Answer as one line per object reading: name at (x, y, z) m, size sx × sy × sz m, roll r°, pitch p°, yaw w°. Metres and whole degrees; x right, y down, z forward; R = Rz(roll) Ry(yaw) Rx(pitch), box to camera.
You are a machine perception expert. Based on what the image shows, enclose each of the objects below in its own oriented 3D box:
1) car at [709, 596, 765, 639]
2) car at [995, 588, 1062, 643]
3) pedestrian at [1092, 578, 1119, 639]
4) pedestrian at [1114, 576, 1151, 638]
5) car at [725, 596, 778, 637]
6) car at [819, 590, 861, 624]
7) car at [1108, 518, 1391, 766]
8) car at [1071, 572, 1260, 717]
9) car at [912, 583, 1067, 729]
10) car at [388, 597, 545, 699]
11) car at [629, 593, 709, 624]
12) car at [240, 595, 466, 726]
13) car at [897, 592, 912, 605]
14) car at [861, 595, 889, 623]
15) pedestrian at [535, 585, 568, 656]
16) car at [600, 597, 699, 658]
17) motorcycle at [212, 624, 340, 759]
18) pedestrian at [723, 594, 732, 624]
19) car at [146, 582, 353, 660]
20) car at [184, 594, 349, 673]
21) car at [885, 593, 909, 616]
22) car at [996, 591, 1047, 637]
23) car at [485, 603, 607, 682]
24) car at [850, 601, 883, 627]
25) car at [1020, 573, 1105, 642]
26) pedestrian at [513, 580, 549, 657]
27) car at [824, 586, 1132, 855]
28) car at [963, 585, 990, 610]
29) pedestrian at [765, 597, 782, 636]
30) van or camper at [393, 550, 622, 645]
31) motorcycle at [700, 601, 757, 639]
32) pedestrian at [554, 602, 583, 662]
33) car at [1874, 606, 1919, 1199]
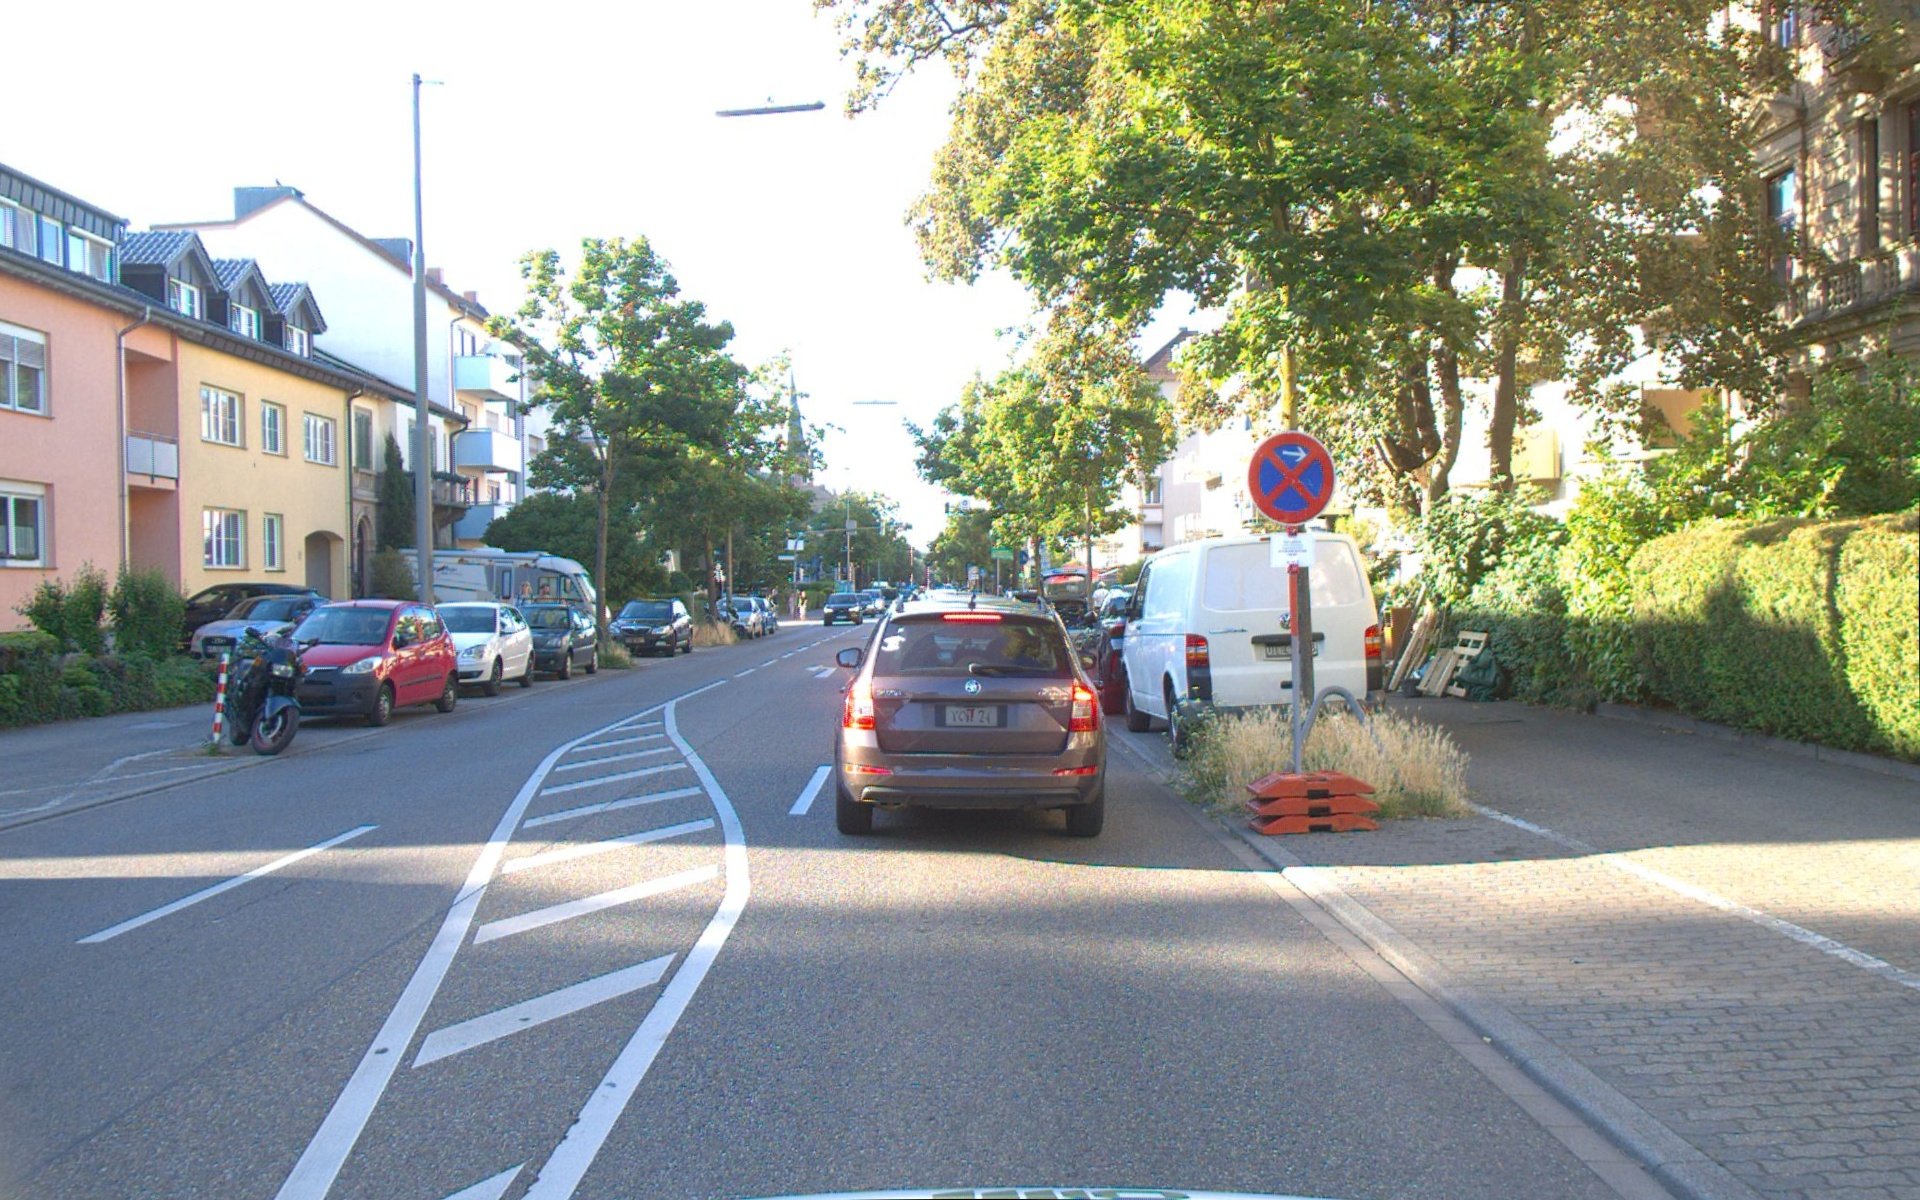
car at (-8.196, 0.616, 61.126) m, size 1.561 × 1.496 × 3.803 m, roll 1°, pitch 0°, yaw -1°
car at (2.153, 0.469, 52.845) m, size 1.818 × 1.609 × 4.012 m, roll -2°, pitch 0°, yaw -1°
pedestrian at (4.332, 0.259, 49.377) m, size 0.649 × 1.779 × 0.772 m, roll -2°, pitch 0°, yaw -2°
pedestrian at (4.659, 0.190, 44.639) m, size 0.742 × 1.668 × 0.693 m, roll -1°, pitch 0°, yaw 36°
car at (-8.251, 0.633, 65.755) m, size 1.615 × 1.544 × 4.073 m, roll 1°, pitch 0°, yaw -1°
car at (-5.995, 0.348, 82.881) m, size 1.798 × 1.597 × 3.999 m, roll -3°, pitch 0°, yaw -1°
car at (2.734, 0.354, 16.725) m, size 1.865 × 2.140 × 4.638 m, roll -1°, pitch 0°, yaw -2°
car at (2.603, 0.526, 21.933) m, size 1.818 × 1.631 × 4.310 m, roll -3°, pitch 0°, yaw -1°
car at (0.335, 0.616, 20.439) m, size 1.701 × 1.598 × 4.000 m, roll 1°, pitch 0°, yaw 0°
car at (-8.148, 0.741, 27.636) m, size 1.561 × 1.550 × 3.889 m, roll -1°, pitch 0°, yaw -2°
car at (-17.810, 0.514, 101.317) m, size 4.540 × 1.843 × 1.861 m, roll -1°, pitch 0°, yaw -1°
car at (-7.764, 0.721, 21.480) m, size 1.560 × 1.550 × 3.437 m, roll -1°, pitch 0°, yaw 2°
car at (-7.102, -0.152, 211.449) m, size 1.793 × 1.607 × 3.999 m, roll -1°, pitch 0°, yaw -1°
car at (-6.071, 0.625, 118.813) m, size 1.769 × 1.836 × 4.744 m, roll -2°, pitch 0°, yaw -1°
pedestrian at (-10.652, 0.534, 43.135) m, size 0.699 × 1.824 × 0.572 m, roll -1°, pitch 0°, yaw 2°
car at (-8.267, 0.687, 44.393) m, size 1.829 × 1.521 × 4.517 m, roll 1°, pitch 0°, yaw -1°
motorcycle at (-7.336, 0.927, 17.675) m, size 1.164 × 1.288 × 2.352 m, roll -1°, pitch 0°, yaw -24°
pedestrian at (-14.376, 0.552, 102.129) m, size 0.440 × 1.828 × 0.504 m, roll -1°, pitch 0°, yaw 0°
car at (-16.336, 0.467, 38.159) m, size 3.905 × 1.664 × 1.866 m, roll 1°, pitch 0°, yaw 0°
car at (-13.759, 0.633, 33.027) m, size 1.630 × 1.433 × 3.753 m, roll -2°, pitch 0°, yaw 1°
car at (-5.709, 0.396, 149.862) m, size 1.953 × 1.942 × 4.963 m, roll -3°, pitch 0°, yaw -1°
car at (2.148, 0.473, 58.532) m, size 1.668 × 1.475 × 4.014 m, roll -2°, pitch 0°, yaw 1°
car at (-8.048, 0.781, 32.407) m, size 1.511 × 1.421 × 3.665 m, roll -1°, pitch 0°, yaw -1°
car at (-5.690, 0.844, 101.157) m, size 1.725 × 1.477 × 4.533 m, roll -3°, pitch 0°, yaw -1°
car at (2.458, 0.169, 40.565) m, size 1.673 × 1.506 × 4.267 m, roll -3°, pitch 0°, yaw -1°
pedestrian at (-10.310, 0.445, 39.735) m, size 0.699 × 1.824 × 0.506 m, roll -1°, pitch 0°, yaw 2°
car at (0.060, 0.676, 11.520) m, size 1.737 × 1.515 × 4.310 m, roll 0°, pitch 0°, yaw -1°
car at (1.272, -0.189, 127.921) m, size 1.952 × 1.803 × 4.001 m, roll 1°, pitch 0°, yaw 2°
pedestrian at (-9.781, 0.849, 86.689) m, size 0.764 × 2.022 × 0.821 m, roll -1°, pitch 0°, yaw 0°
van or camper at (-14.525, -0.080, 53.410) m, size 6.660 × 2.821 × 2.351 m, roll 2°, pitch 0°, yaw -2°
motorcycle at (-8.028, 0.702, 57.420) m, size 2.014 × 1.287 × 0.764 m, roll -1°, pitch 0°, yaw 38°
pedestrian at (-9.983, 0.810, 42.156) m, size 0.577 × 1.522 × 0.542 m, roll -1°, pitch 0°, yaw 2°
car at (2.743, 0.702, 0.982) m, size 1.722 × 1.445 × 4.614 m, roll -3°, pitch 0°, yaw -1°
